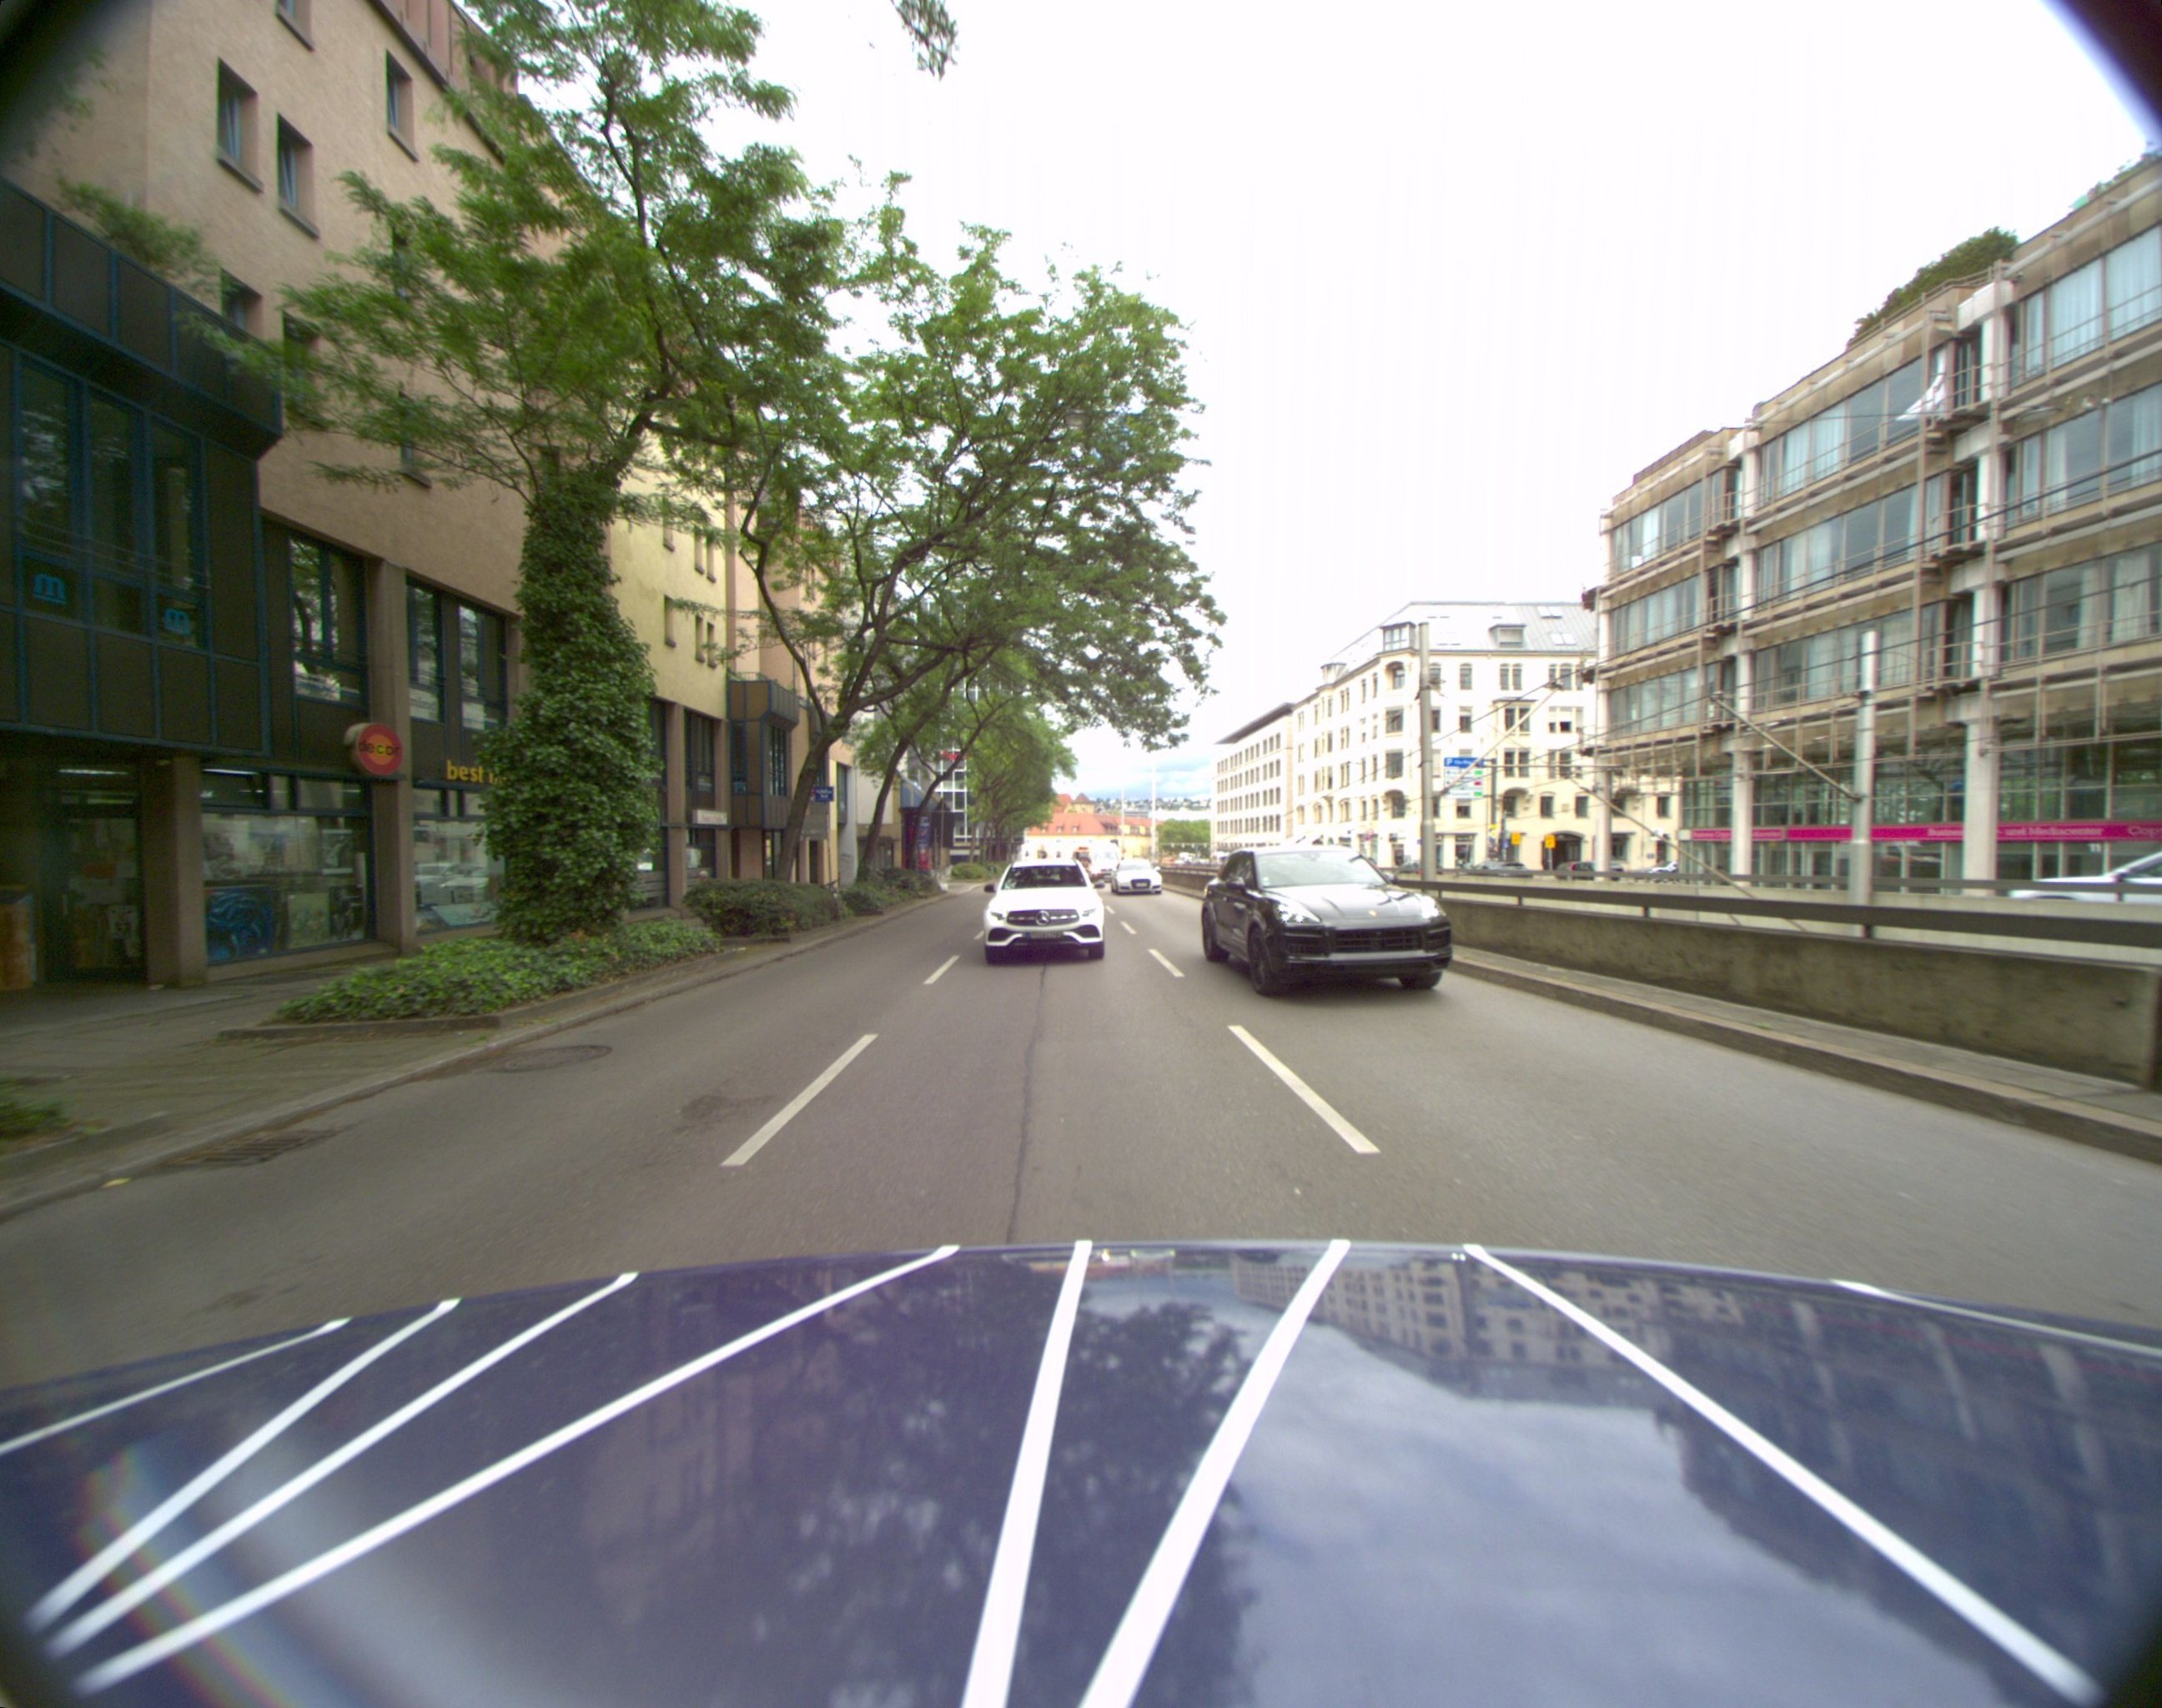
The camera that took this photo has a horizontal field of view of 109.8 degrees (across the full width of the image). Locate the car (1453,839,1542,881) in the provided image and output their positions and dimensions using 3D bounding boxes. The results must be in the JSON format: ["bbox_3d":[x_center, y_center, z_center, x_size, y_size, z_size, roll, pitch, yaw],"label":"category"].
[{"bbox_3d":[20.830,0.239,38.230,1.999,1.903,4.377,-2,1,-1],"label":"car"}]

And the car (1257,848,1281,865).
[{"bbox_3d":[23.536,0.341,95.146,1.999,2.002,4.000,0,0,-1],"label":"car"}]

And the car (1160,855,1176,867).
[{"bbox_3d":[15.242,1.256,133.738,2.115,2.002,4.789,-2,0,-2],"label":"car"}]

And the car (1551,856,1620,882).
[{"bbox_3d":[34.002,0.998,51.251,3.599,1.651,1.649,0,0,-4],"label":"car"}]

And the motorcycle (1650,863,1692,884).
[{"bbox_3d":[31.082,1.005,40.057,0.645,1.069,1.670,-2,0,-21],"label":"motorcycle"}]

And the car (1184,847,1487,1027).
[{"bbox_3d":[2.836,0.833,10.057,2.088,1.665,5.352,-2,0,-1],"label":"car"}]

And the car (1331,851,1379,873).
[{"bbox_3d":[20.539,0.589,57.153,1.818,1.551,4.641,0,0,-2],"label":"car"}]

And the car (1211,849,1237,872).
[{"bbox_3d":[19.892,0.824,106.068,2.370,3.042,5.468,-2,0,-1],"label":"car"}]

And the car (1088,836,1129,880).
[{"bbox_3d":[1.901,0.239,50.987,2.293,2.723,4.755,-2,0,6],"label":"car"}]

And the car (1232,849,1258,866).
[{"bbox_3d":[20.098,0.443,93.465,1.999,2.002,4.789,-2,0,-1],"label":"car"}]

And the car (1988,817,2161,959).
[{"bbox_3d":[15.498,0.436,9.823,1.838,1.831,4.603,-5,0,-3],"label":"car"}]

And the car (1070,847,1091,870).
[{"bbox_3d":[-0.021,0.529,98.099,2.503,2.792,5.728,-2,0,1],"label":"car"}]

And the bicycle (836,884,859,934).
[{"bbox_3d":[-6.038,1.405,19.690,0.362,1.194,1.569,-1,0,-9],"label":"bicycle"}]

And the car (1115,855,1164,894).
[{"bbox_3d":[2.478,0.836,32.819,1.949,1.521,4.001,-2,0,3],"label":"car"}]

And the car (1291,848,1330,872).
[{"bbox_3d":[20.462,0.493,67.954,1.999,2.002,4.789,-2,0,-1],"label":"car"}]

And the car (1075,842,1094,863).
[{"bbox_3d":[0.507,-0.172,105.669,2.503,2.792,5.728,-2,0,1],"label":"car"}]

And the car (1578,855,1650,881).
[{"bbox_3d":[34.376,0.897,49.039,3.599,1.651,1.649,0,0,-4],"label":"car"}]

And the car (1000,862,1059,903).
[{"bbox_3d":[-2.127,1.156,32.241,1.949,1.521,4.001,-2,0,3],"label":"car"}]

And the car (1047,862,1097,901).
[{"bbox_3d":[-0.396,1.088,32.009,1.890,1.378,4.609,-2,0,-1],"label":"car"}]

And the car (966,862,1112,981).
[{"bbox_3d":[-0.638,1.001,13.016,2.060,1.599,3.926,-2,0,-1],"label":"car"}]

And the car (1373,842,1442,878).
[{"bbox_3d":[20.236,0.364,47.325,1.999,1.952,4.789,-5,0,-2],"label":"car"}]

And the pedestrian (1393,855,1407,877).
[{"bbox_3d":[25.052,0.969,59.629,0.712,1.701,0.687,-1,0,-12],"label":"pedestrian"}]

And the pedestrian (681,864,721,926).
[{"bbox_3d":[-10.540,1.129,21.106,0.711,1.701,0.688,-1,0,5],"label":"pedestrian"}]

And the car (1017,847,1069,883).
[{"bbox_3d":[-2.414,0.677,49.863,2.502,2.144,5.730,-2,0,6],"label":"car"}]
